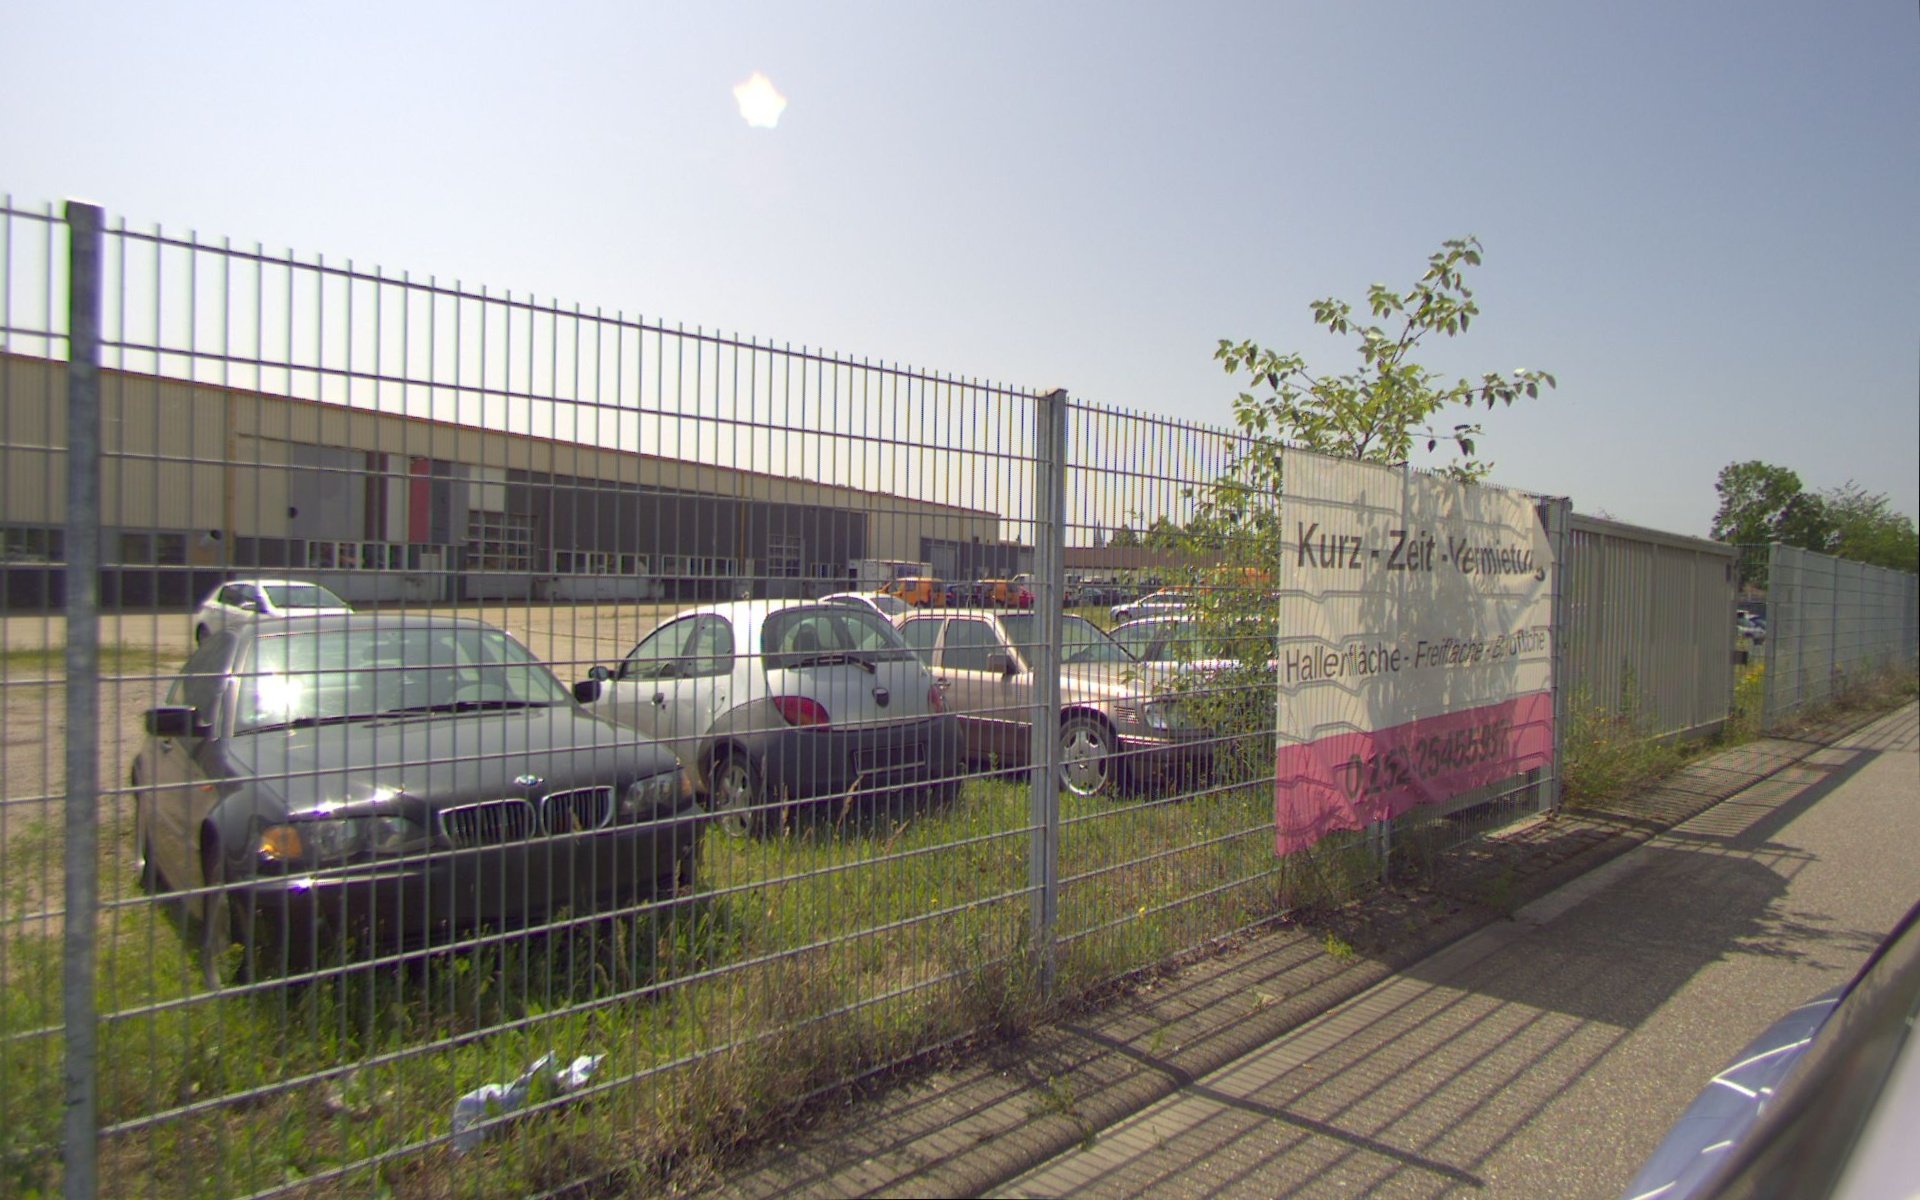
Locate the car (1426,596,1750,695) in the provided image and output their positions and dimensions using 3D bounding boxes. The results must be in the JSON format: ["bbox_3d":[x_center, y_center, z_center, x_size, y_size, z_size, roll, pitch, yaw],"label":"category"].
[{"bbox_3d":[10.851,0.693,17.748,1.808,1.423,4.514,0,1,-43],"label":"car"}]

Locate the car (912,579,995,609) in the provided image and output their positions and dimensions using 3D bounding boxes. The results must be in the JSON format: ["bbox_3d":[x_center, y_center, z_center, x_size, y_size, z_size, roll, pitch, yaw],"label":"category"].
[{"bbox_3d":[-0.360,-0.324,53.649,3.971,1.482,1.977,2,1,33],"label":"car"}]

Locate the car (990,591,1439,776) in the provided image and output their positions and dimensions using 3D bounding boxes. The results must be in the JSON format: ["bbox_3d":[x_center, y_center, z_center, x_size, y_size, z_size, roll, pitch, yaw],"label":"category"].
[{"bbox_3d":[2.362,0.709,10.213,1.611,1.493,4.165,0,-1,-44],"label":"car"}]

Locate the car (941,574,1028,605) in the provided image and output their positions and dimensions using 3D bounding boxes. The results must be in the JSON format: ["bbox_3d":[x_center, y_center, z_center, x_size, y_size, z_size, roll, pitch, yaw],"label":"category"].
[{"bbox_3d":[1.342,-0.586,55.826,4.355,1.504,1.952,3,1,31],"label":"car"}]

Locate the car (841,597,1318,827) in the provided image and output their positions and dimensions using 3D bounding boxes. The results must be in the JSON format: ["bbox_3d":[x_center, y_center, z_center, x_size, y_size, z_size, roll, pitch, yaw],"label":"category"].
[{"bbox_3d":[0.790,0.695,8.280,1.711,1.371,3.668,0,1,-42],"label":"car"}]

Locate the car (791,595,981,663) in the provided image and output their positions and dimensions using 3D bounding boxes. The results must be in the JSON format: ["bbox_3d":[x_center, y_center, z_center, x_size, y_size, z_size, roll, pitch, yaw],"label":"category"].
[{"bbox_3d":[-1.815,0.619,24.021,4.494,1.368,1.606,2,1,35],"label":"car"}]

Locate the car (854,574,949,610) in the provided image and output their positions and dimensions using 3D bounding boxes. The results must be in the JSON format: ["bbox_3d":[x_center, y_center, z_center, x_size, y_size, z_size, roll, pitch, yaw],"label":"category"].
[{"bbox_3d":[-2.846,-0.399,48.703,4.356,1.504,1.733,3,1,31],"label":"car"}]

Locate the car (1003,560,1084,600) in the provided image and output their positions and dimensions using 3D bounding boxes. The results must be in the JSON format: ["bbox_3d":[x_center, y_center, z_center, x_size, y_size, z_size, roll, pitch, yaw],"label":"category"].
[{"bbox_3d":[4.926,-1.214,60.100,4.355,2.199,1.952,3,1,31],"label":"car"}]

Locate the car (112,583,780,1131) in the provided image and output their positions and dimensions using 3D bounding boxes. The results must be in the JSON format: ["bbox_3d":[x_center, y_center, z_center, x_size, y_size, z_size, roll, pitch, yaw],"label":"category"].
[{"bbox_3d":[-2.714,0.634,4.727,1.694,1.371,4.188,0,1,-43],"label":"car"}]

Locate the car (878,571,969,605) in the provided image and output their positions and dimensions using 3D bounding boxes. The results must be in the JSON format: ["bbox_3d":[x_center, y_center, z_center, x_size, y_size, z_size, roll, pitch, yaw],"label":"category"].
[{"bbox_3d":[-1.845,-0.609,50.908,4.356,1.504,1.733,3,1,31],"label":"car"}]

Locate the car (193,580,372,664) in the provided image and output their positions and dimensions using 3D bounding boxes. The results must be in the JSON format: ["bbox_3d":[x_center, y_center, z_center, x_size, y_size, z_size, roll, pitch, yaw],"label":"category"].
[{"bbox_3d":[-13.267,0.364,19.771,3.638,1.454,1.519,2,1,31],"label":"car"}]

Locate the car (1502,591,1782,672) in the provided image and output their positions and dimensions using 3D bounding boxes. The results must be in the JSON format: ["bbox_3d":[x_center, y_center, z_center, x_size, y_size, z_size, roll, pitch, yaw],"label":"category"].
[{"bbox_3d":[13.330,0.591,20.012,1.804,1.424,4.221,0,-1,-37],"label":"car"}]

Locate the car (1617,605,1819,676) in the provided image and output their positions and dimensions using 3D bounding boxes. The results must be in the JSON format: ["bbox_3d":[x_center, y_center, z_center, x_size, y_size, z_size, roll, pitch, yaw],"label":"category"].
[{"bbox_3d":[21.175,1.060,28.385,1.735,1.657,4.285,2,1,-44],"label":"car"}]

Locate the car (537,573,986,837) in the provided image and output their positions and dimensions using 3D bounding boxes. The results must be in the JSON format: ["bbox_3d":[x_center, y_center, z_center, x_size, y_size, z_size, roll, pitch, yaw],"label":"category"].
[{"bbox_3d":[-1.513,0.513,6.987,1.503,1.371,3.270,0,1,-44],"label":"car"}]

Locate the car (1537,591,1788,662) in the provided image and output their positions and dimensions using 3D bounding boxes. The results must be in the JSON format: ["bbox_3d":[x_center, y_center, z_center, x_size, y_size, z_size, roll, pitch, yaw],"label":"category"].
[{"bbox_3d":[15.498,0.564,22.518,1.804,1.424,4.221,0,-1,-37],"label":"car"}]

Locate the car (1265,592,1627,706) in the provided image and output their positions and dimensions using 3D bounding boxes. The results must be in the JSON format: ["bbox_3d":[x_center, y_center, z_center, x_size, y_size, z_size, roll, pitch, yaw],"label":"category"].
[{"bbox_3d":[6.975,0.649,14.987,1.736,1.424,4.518,0,-1,-39],"label":"car"}]

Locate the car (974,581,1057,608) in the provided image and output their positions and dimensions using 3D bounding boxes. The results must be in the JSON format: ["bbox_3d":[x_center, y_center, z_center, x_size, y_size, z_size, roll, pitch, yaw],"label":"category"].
[{"bbox_3d":[3.152,-0.317,57.733,4.360,1.395,1.820,3,1,34],"label":"car"}]
